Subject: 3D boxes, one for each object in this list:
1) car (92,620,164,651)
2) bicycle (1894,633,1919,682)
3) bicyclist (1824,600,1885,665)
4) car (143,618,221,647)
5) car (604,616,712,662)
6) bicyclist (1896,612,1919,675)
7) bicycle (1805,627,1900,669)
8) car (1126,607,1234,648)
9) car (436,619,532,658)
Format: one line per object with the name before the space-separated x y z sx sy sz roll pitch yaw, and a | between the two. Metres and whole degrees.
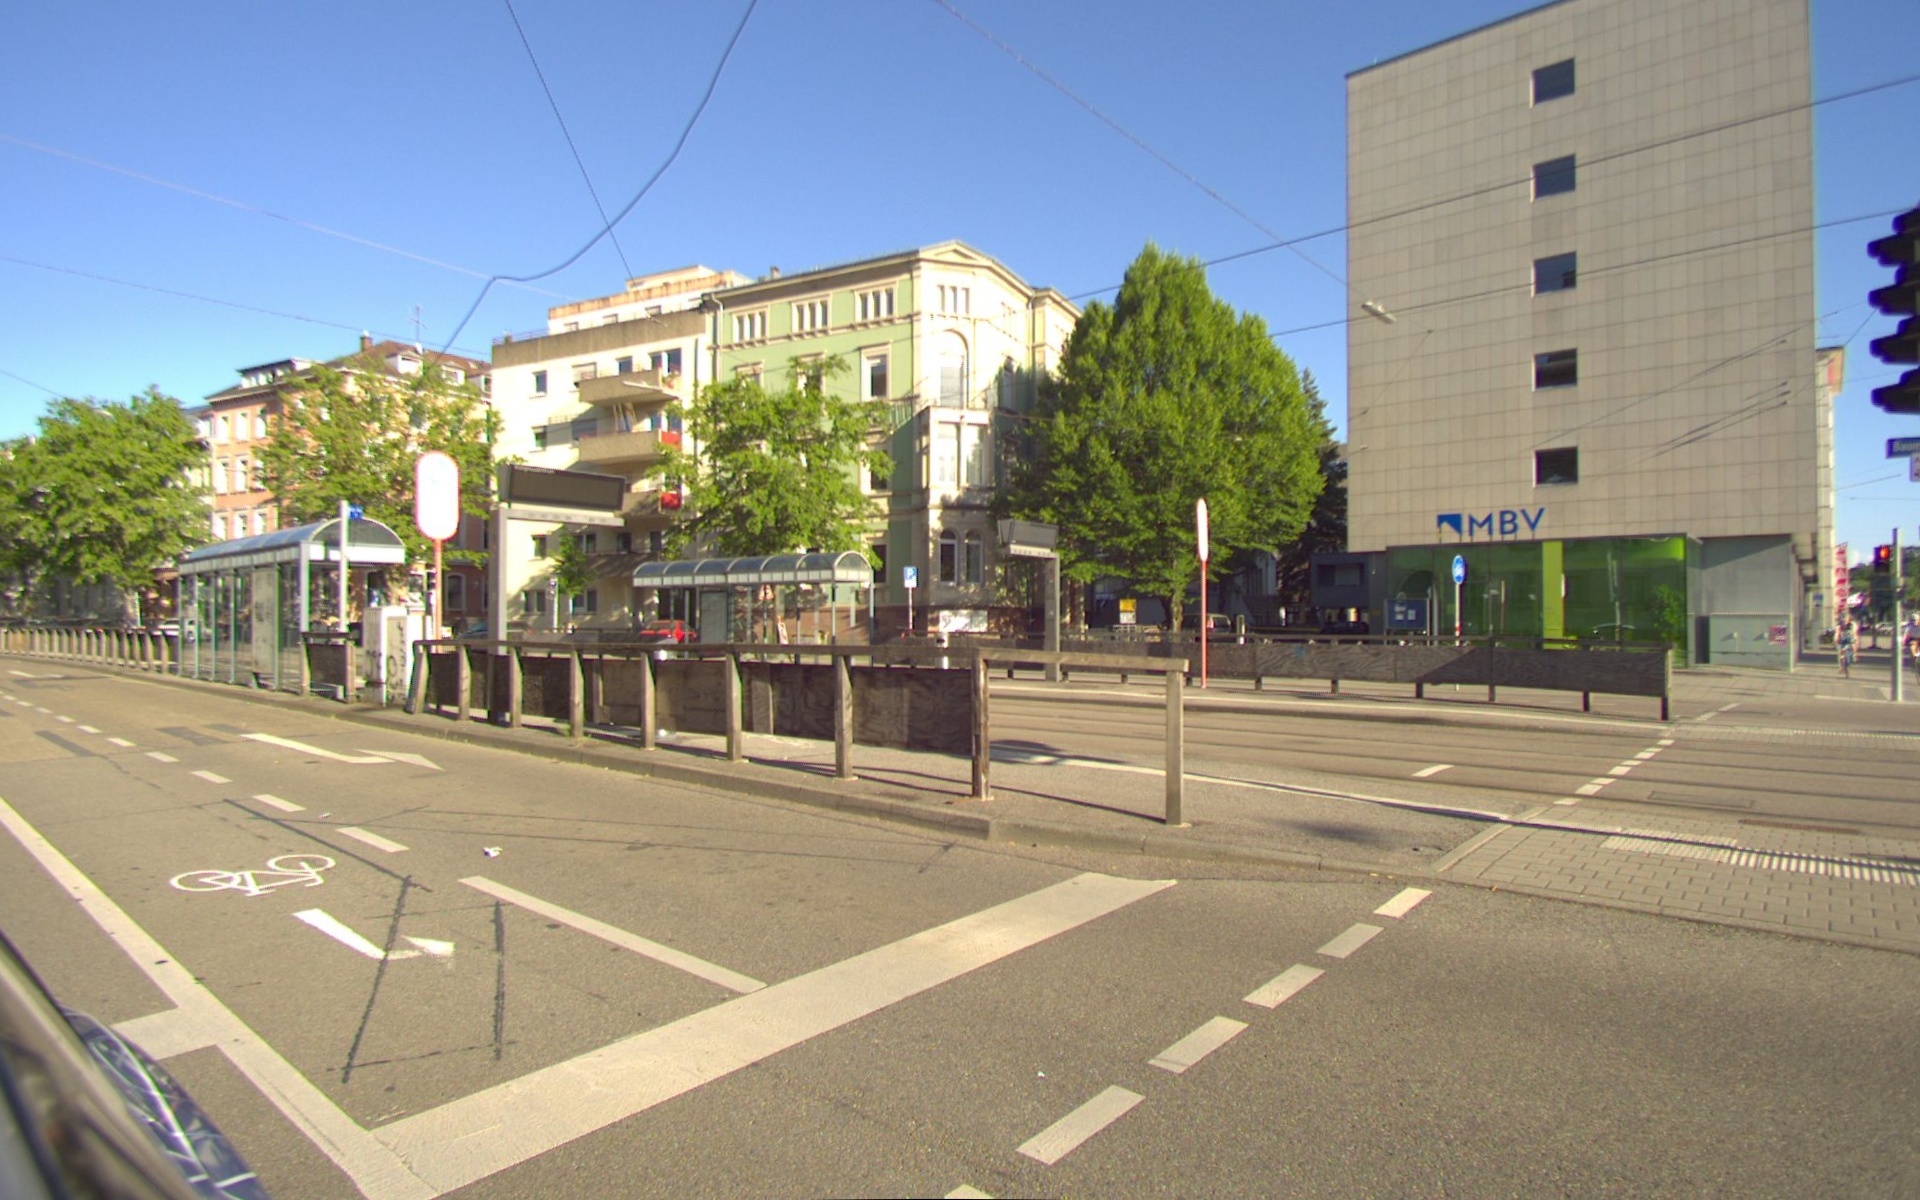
car | -46.526 1.963 56.599 3.981 1.597 1.724 -1 0 28
bicycle | 24.165 1.437 25.448 0.883 1.075 2.154 1 2 40
bicyclist | 23.952 0.857 27.114 0.932 1.703 0.765 0 1 -2
car | -45.751 1.886 59.595 1.715 1.597 4.003 -1 0 -3
car | -11.493 1.445 38.765 1.731 1.597 3.964 -1 0 26
bicyclist | 23.985 1.092 25.239 0.888 1.518 0.895 1 2 41
bicycle | 23.908 1.269 27.128 1.880 1.075 0.755 0 1 -1
car | 9.049 1.091 41.707 3.993 1.597 1.719 -1 0 37
car | -20.595 1.624 43.776 3.981 1.597 1.724 -1 0 28
